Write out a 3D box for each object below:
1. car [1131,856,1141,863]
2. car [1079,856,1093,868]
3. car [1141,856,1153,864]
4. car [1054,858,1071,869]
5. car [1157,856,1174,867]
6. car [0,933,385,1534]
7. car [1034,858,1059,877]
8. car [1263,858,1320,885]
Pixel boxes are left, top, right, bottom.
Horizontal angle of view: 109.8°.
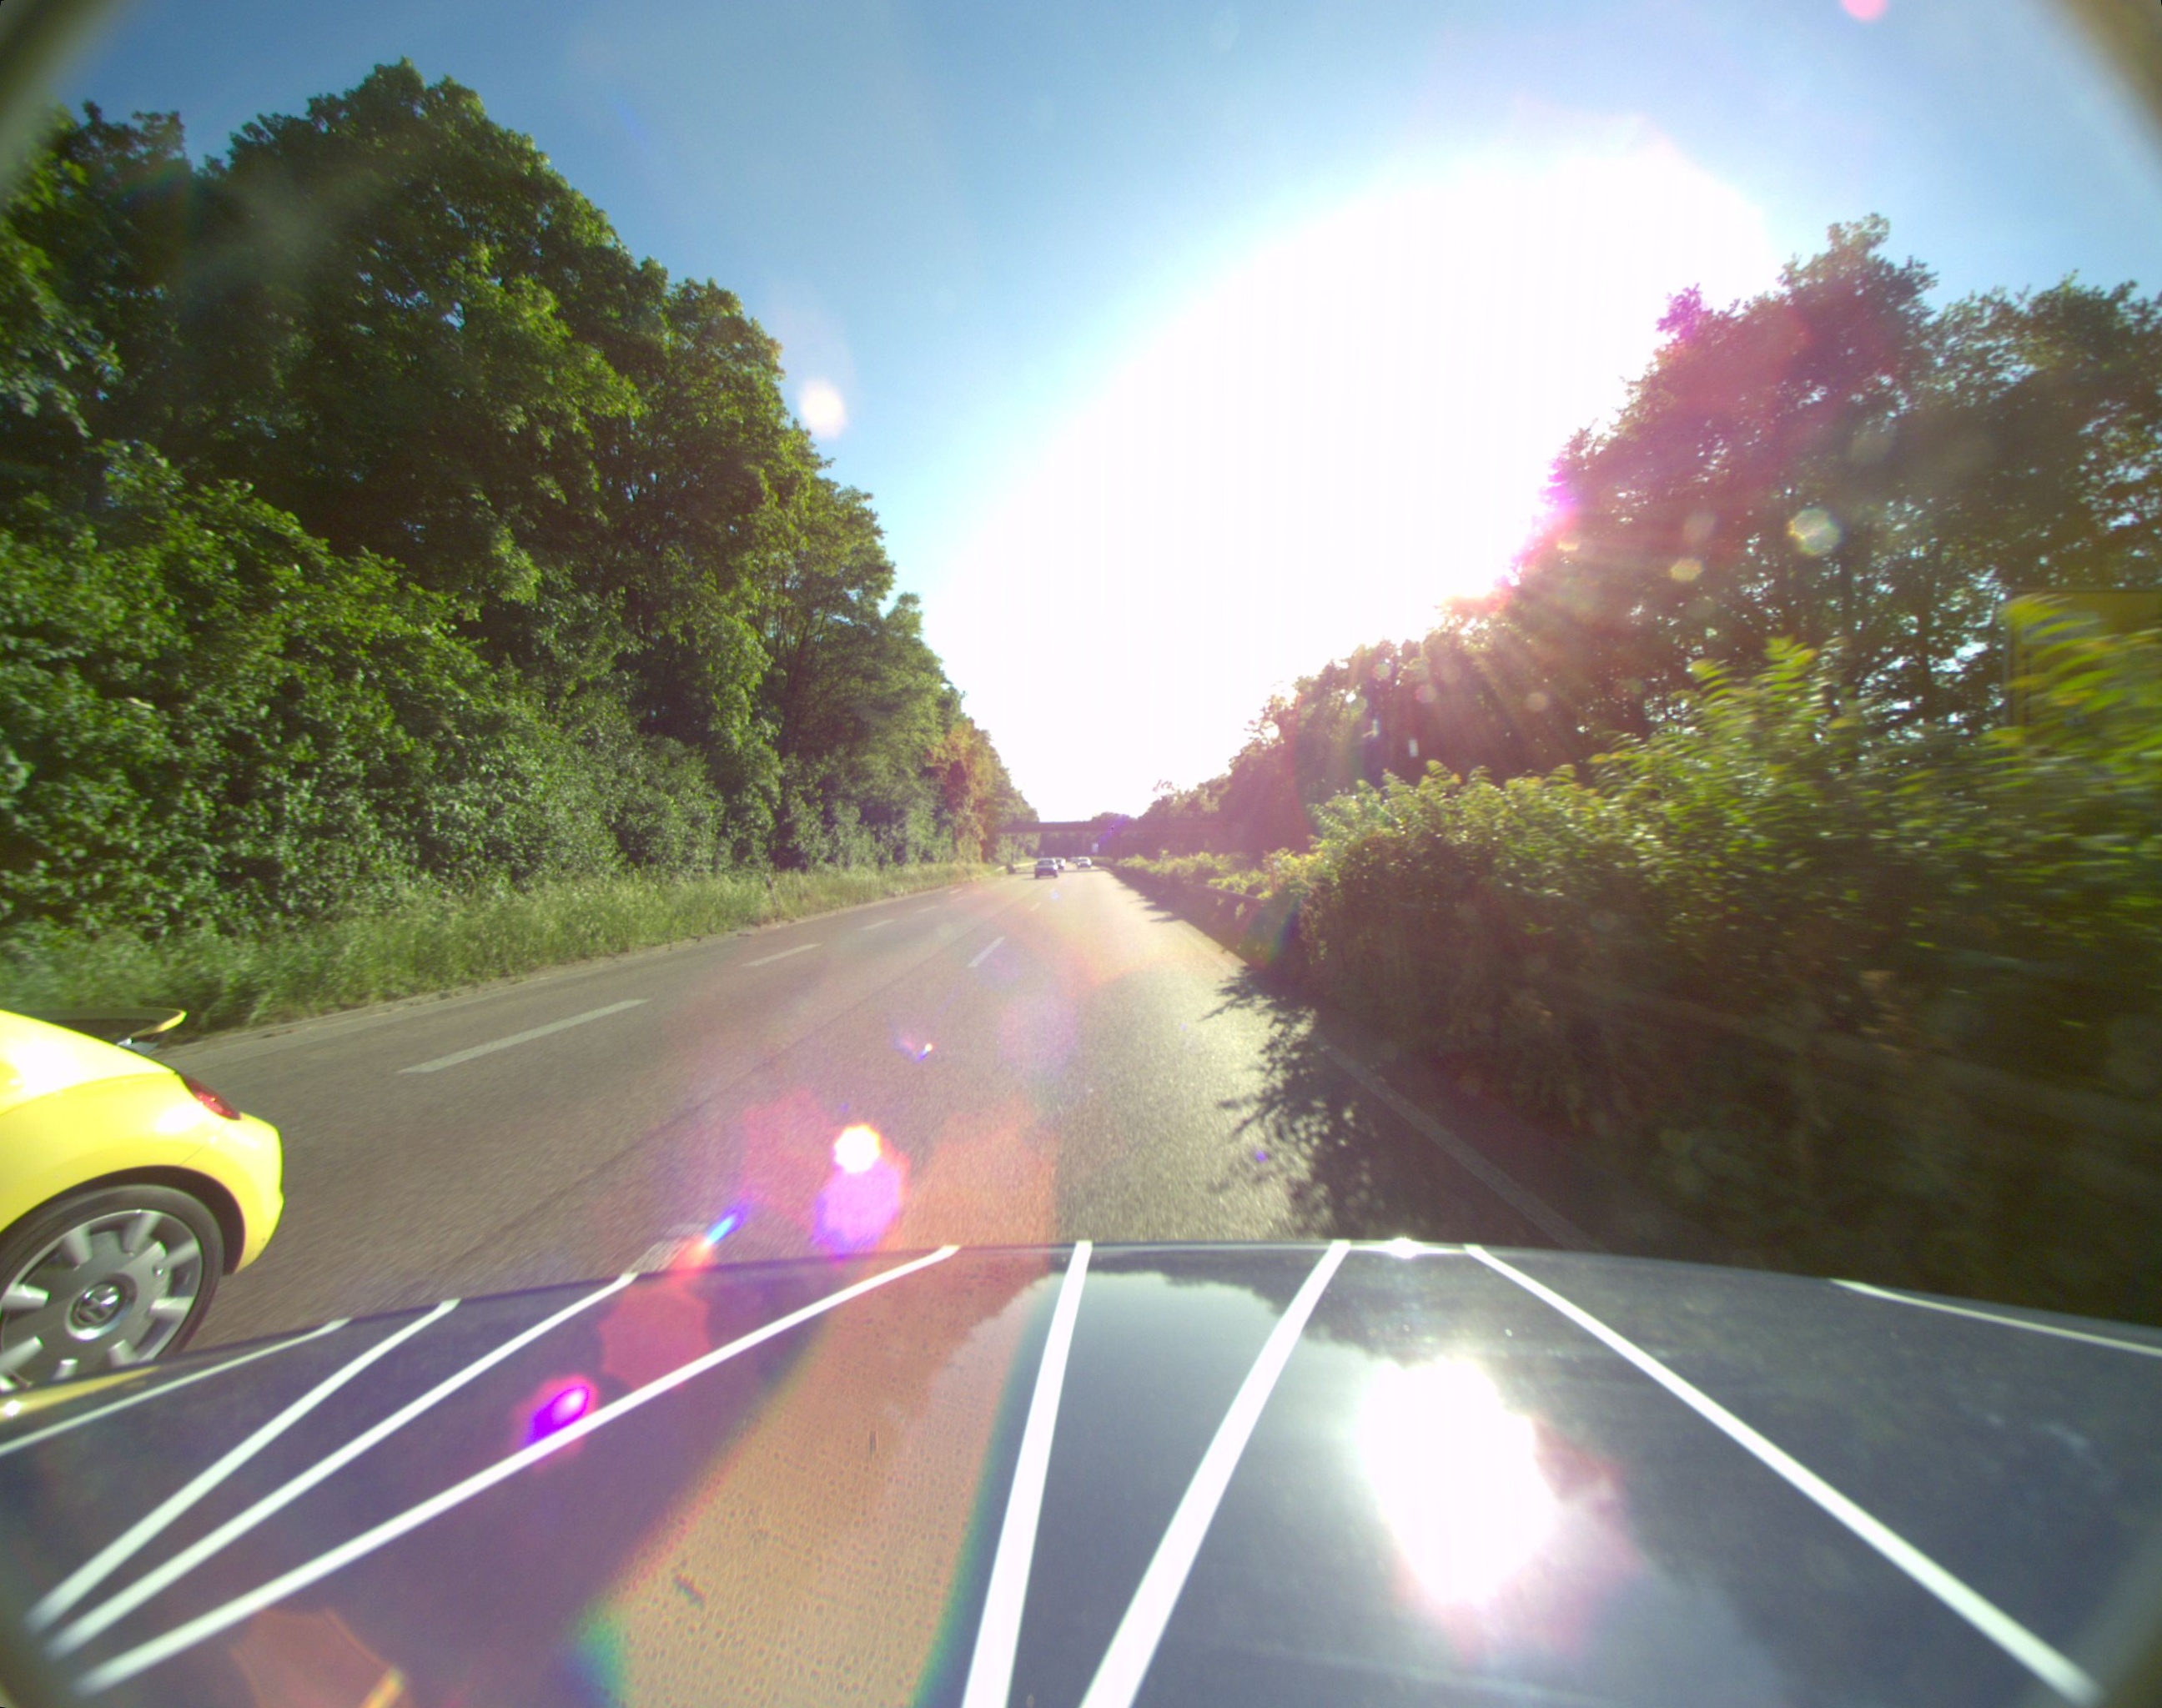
[{"bbox_3d":[12.553,1.204,174.629,1.966,1.441,4.706,-1,0,0],"label":"car"},{"bbox_3d":[0.675,1.084,103.749,1.904,1.453,4.355,-1,0,-1],"label":"car"},{"bbox_3d":[12.748,1.126,146.827,1.966,1.441,4.583,-2,0,-1],"label":"car"},{"bbox_3d":[-2.408,1.208,97.804,1.802,1.453,4.353,-1,0,-7],"label":"car"},{"bbox_3d":[12.489,1.083,112.158,1.966,1.441,4.326,-2,0,-1],"label":"car"},{"bbox_3d":[-3.778,1.071,0.878,1.884,1.453,4.356,-2,0,0],"label":"car"},{"bbox_3d":[-2.740,1.053,61.388,1.801,1.453,4.355,-2,0,-1],"label":"car"},{"bbox_3d":[12.398,1.005,45.022,1.966,1.441,4.506,-2,0,-2],"label":"car"}]
